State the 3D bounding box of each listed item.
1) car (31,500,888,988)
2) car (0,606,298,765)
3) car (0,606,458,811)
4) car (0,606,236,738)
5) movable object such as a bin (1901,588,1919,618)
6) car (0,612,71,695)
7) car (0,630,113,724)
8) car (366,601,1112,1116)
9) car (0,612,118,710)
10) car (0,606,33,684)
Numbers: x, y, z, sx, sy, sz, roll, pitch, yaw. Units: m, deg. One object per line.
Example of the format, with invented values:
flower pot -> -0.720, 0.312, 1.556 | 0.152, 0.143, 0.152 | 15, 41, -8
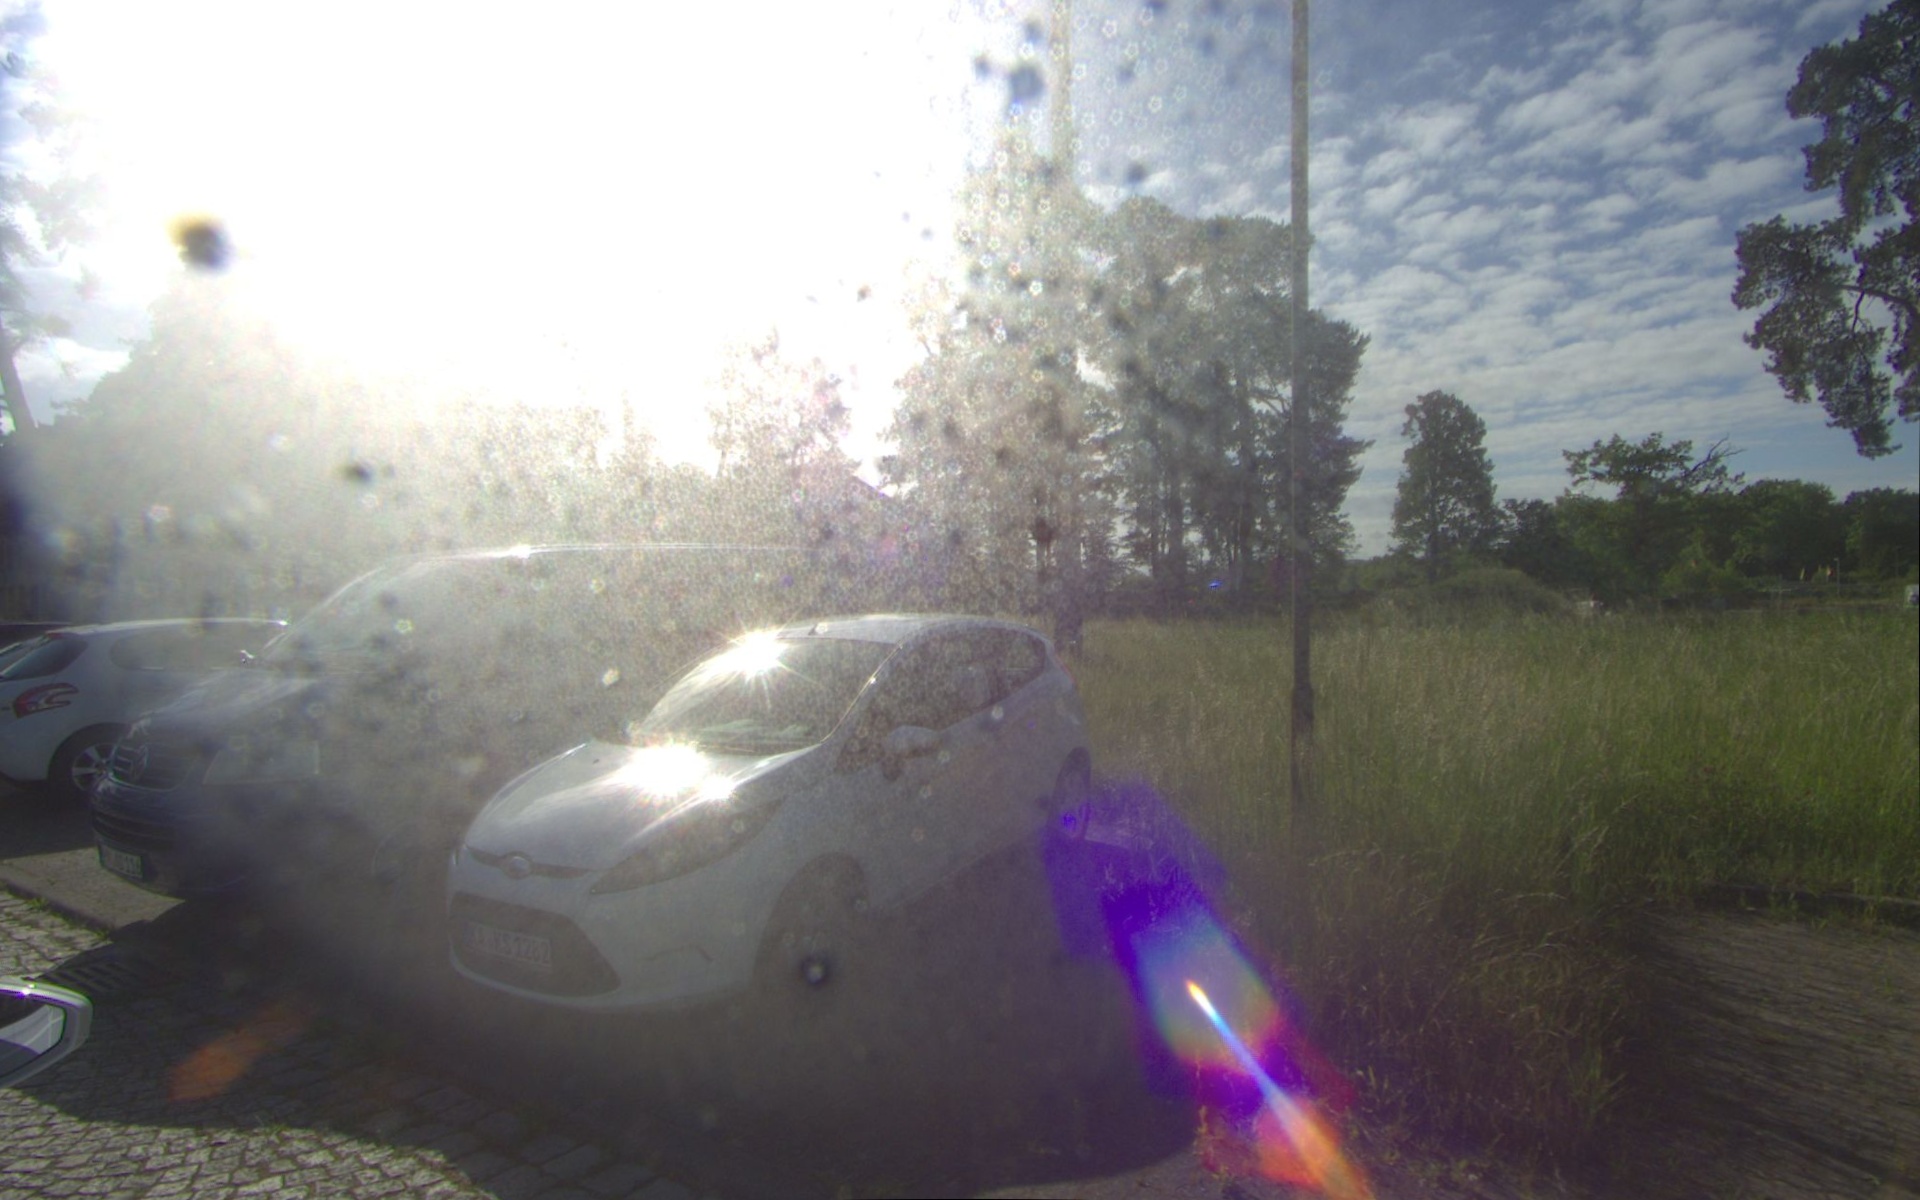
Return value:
car -> -2.705, 0.530, 6.697 | 1.972, 2.041, 4.741 | 0, 2, 33
car -> -9.645, 0.861, 10.801 | 1.733, 1.470, 3.770 | 0, 1, 34
car -> -7.005, 0.846, 9.569 | 1.611, 1.512, 3.636 | 0, 0, 33
car -> -11.751, 0.886, 12.798 | 1.643, 1.475, 3.653 | 0, 2, 32
movable object such as a bin -> 67.181, 0.179, 68.549 | 2.087, 2.040, 5.721 | -1, 0, 23
car -> -17.864, 0.975, 16.558 | 1.763, 1.407, 4.389 | 0, 1, 31
car -> -14.123, 1.084, 13.802 | 1.515, 1.259, 3.453 | 0, 0, 33
car -> -0.664, 0.807, 5.080 | 1.586, 1.487, 3.713 | 0, 1, 30
car -> -15.836, 0.985, 15.501 | 1.632, 1.468, 3.970 | 0, 1, 32
car -> -20.181, 0.955, 18.129 | 1.842, 1.475, 4.610 | 0, 2, 30
